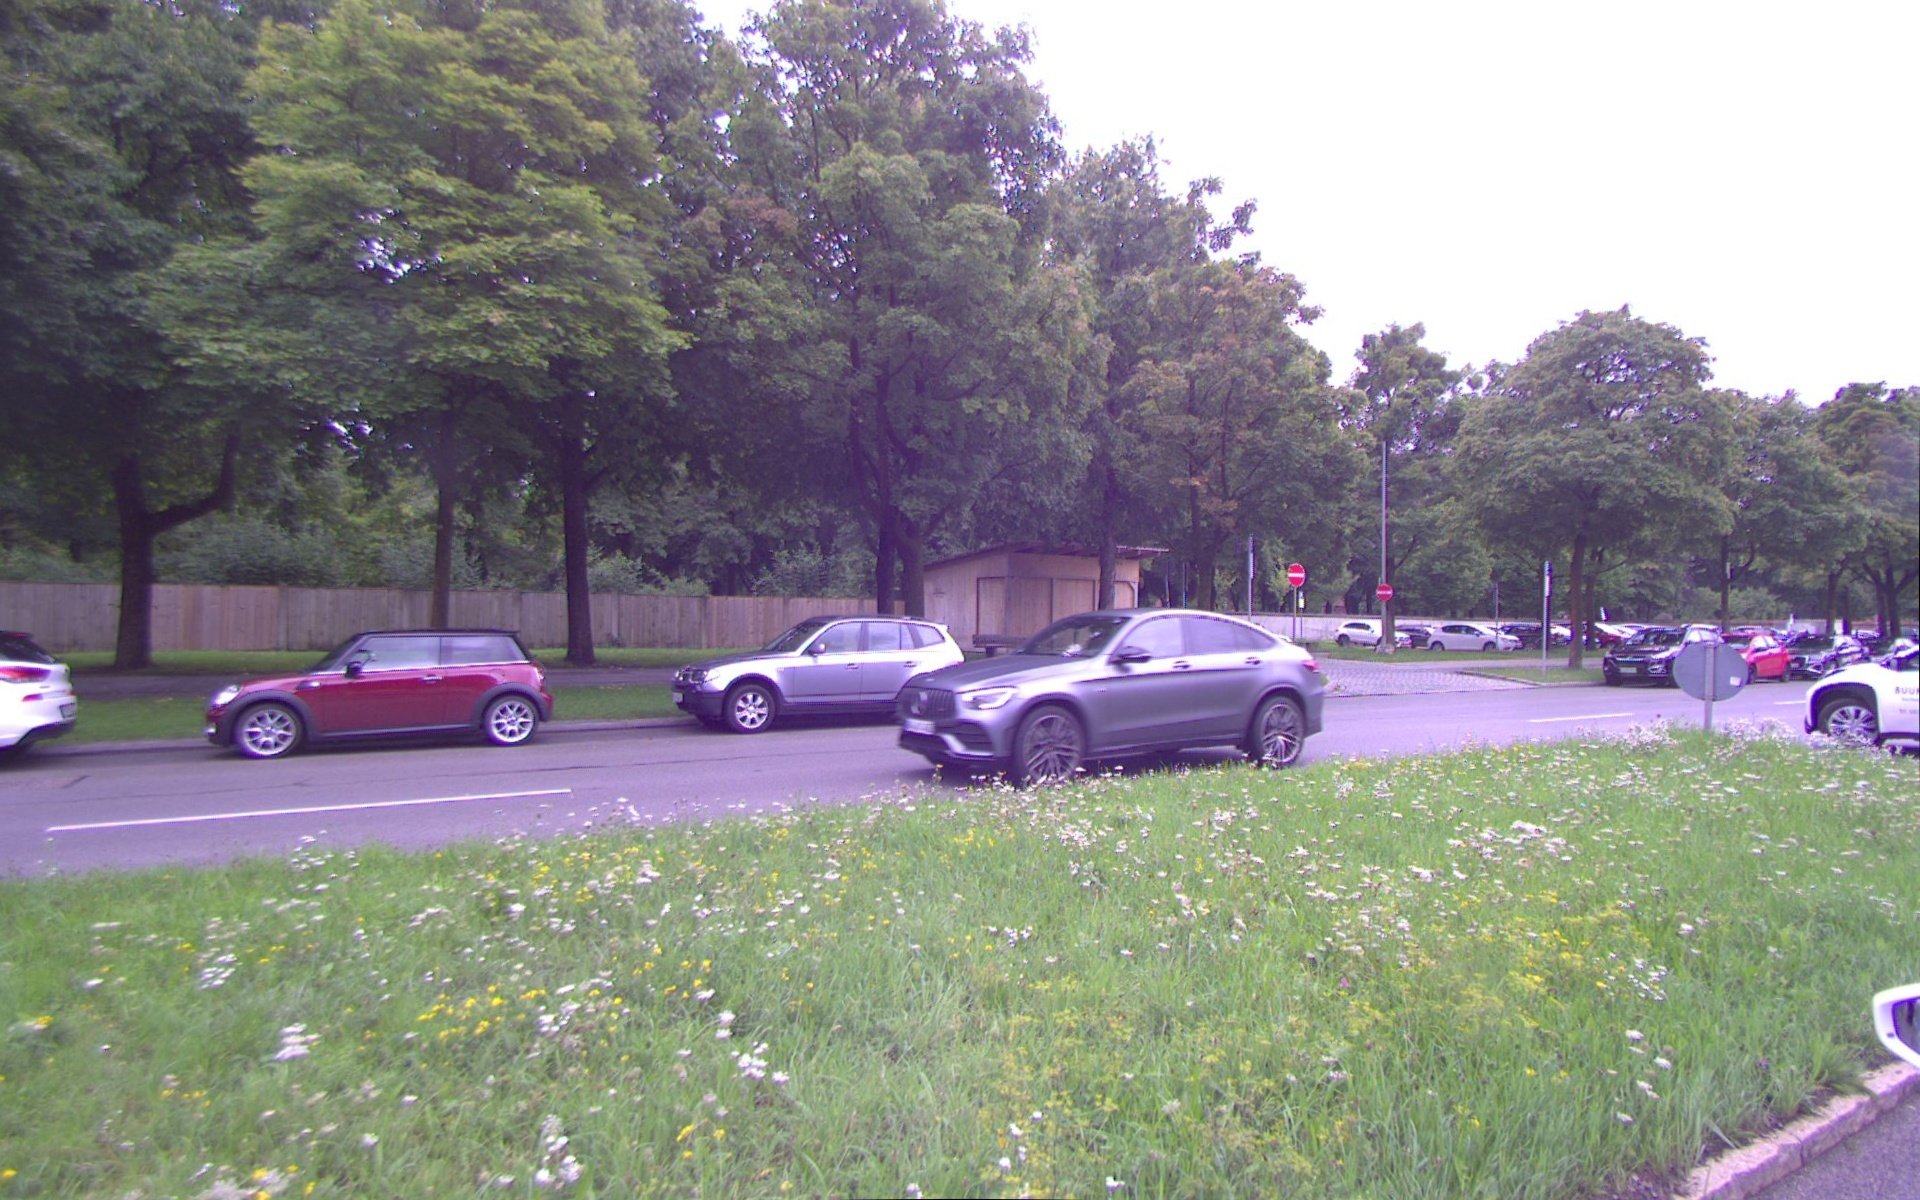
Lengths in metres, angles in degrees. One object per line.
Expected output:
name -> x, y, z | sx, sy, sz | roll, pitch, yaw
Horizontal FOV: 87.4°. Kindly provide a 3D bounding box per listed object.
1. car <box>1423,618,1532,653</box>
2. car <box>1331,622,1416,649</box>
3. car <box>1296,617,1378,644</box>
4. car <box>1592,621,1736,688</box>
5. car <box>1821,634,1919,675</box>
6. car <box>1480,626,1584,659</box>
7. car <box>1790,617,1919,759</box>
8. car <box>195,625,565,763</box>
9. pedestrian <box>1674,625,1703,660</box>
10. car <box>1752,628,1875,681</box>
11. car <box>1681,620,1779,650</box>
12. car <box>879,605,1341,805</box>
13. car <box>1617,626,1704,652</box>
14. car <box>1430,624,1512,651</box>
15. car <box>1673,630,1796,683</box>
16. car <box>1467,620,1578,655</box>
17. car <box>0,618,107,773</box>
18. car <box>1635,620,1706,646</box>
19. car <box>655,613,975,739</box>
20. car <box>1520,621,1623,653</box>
car -> 23.521, 1.572, 45.738 | 1.980, 1.461, 3.960 | 1, -1, -35
car -> 24.886, 2.125, 60.609 | 1.975, 1.461, 4.487 | 1, -1, -28
car -> 22.541, 1.802, 60.209 | 1.974, 1.461, 4.490 | 1, -1, -26
car -> 19.708, 1.510, 28.089 | 4.193, 1.722, 1.812 | 3, -1, -32
car -> 33.044, 1.941, 36.152 | 3.951, 1.428, 1.814 | 1, -2, -29
car -> 27.812, 2.044, 48.933 | 1.980, 1.461, 3.960 | 1, -1, -35
car -> 11.617, 0.999, 11.016 | 1.793, 1.574, 3.718 | 1, -1, -5
car -> -6.852, 1.058, 12.192 | 3.643, 1.440, 1.642 | 1, -3, -30
pedestrian -> 32.198, 1.855, 44.401 | 0.846, 1.515, 0.791 | 1, -1, -30
car -> 28.288, 1.776, 33.275 | 4.063, 1.620, 1.813 | 1, -1, -29
car -> 42.633, 1.911, 55.691 | 1.792, 1.591, 3.971 | 1, -1, -28
car -> 1.583, 0.881, 10.046 | 4.449, 1.610, 1.812 | 1, 0, -31
car -> 42.860, 2.389, 61.542 | 1.980, 1.461, 3.960 | 1, -1, -35
car -> 33.996, 2.451, 66.935 | 1.977, 1.647, 4.483 | 1, -1, -30
car -> 23.982, 1.734, 31.080 | 3.768, 1.499, 1.812 | 3, -1, -32
car -> 26.239, 1.728, 46.960 | 1.978, 1.461, 4.112 | 1, -1, -32
car -> -11.182, 0.935, 9.663 | 4.209, 1.496, 1.813 | 1, -3, -30
car -> 59.407, 2.717, 84.034 | 1.977, 2.061, 4.483 | 1, -1, -30
car -> -2.118, 1.054, 15.071 | 4.405, 1.652, 1.812 | 1, -2, -31
car -> 30.482, 1.815, 50.194 | 1.980, 1.461, 3.960 | 1, -1, -35
